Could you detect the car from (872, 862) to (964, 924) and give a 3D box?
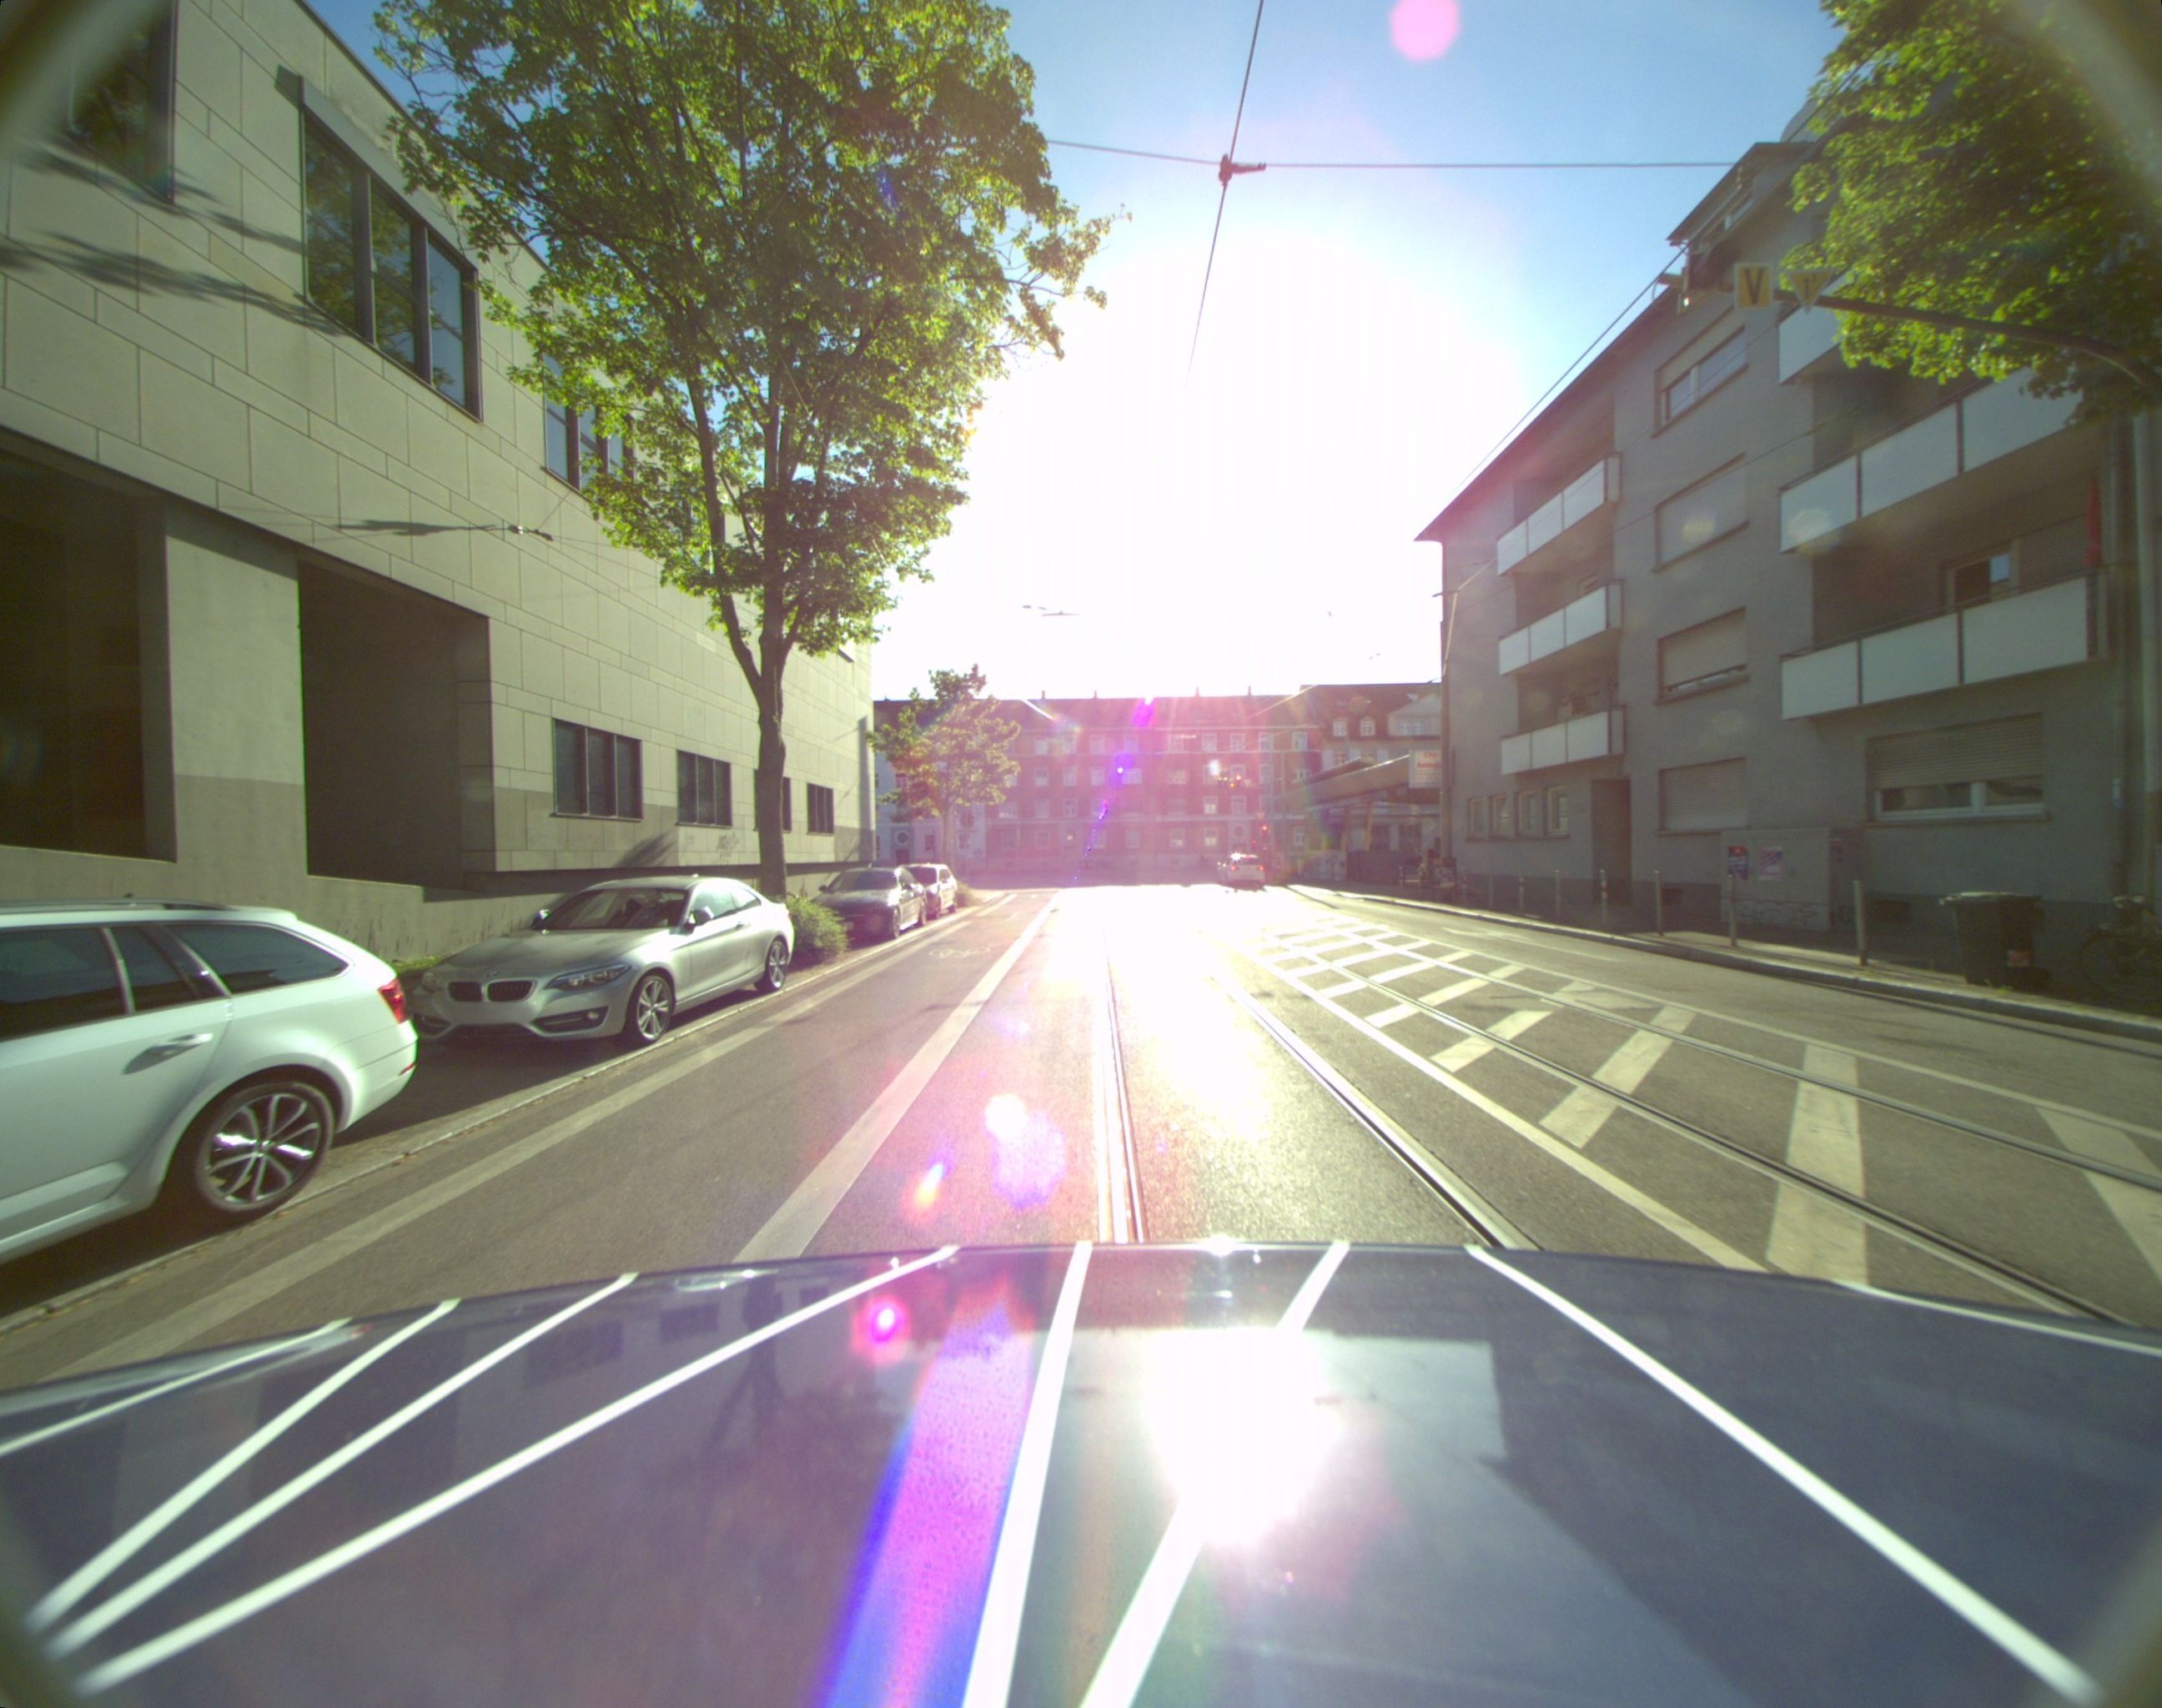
[{"bbox_3d":[-4.598,1.051,21.944,1.654,1.471,4.000,-2,1,1],"label":"car"}]

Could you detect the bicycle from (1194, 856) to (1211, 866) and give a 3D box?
[{"bbox_3d":[12.397,0.723,77.588,1.673,0.943,0.555,-1,1,40],"label":"bicycle"}]

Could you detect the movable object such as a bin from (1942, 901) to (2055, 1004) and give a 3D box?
[{"bbox_3d":[9.125,0.966,7.573,0.425,0.930,0.582,-2,1,1],"label":"movable object such as a bin"}]

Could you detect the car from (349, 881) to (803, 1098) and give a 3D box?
[{"bbox_3d":[-4.533,1.085,7.793,1.713,1.400,4.328,0,1,1],"label":"car"}]

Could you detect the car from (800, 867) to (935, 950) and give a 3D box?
[{"bbox_3d":[-4.475,1.069,16.635,1.682,1.400,4.660,0,1,-1],"label":"car"}]

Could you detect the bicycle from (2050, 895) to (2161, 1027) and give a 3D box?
[{"bbox_3d":[9.099,0.911,6.193,0.303,1.036,1.661,-2,1,1],"label":"bicycle"}]

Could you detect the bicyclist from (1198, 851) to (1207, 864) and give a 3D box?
[{"bbox_3d":[12.402,0.365,77.568,0.667,1.217,0.555,-1,1,40],"label":"bicyclist"}]

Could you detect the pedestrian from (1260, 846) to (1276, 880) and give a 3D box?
[{"bbox_3d":[9.742,0.467,39.612,0.640,1.764,0.583,-2,1,1],"label":"pedestrian"}]

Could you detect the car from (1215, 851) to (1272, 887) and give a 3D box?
[{"bbox_3d":[7.673,0.677,36.206,1.923,1.516,4.000,-2,1,1],"label":"car"}]

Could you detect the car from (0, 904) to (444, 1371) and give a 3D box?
[{"bbox_3d":[-4.572,1.050,2.050,1.716,1.481,4.623,-2,0,1],"label":"car"}]
